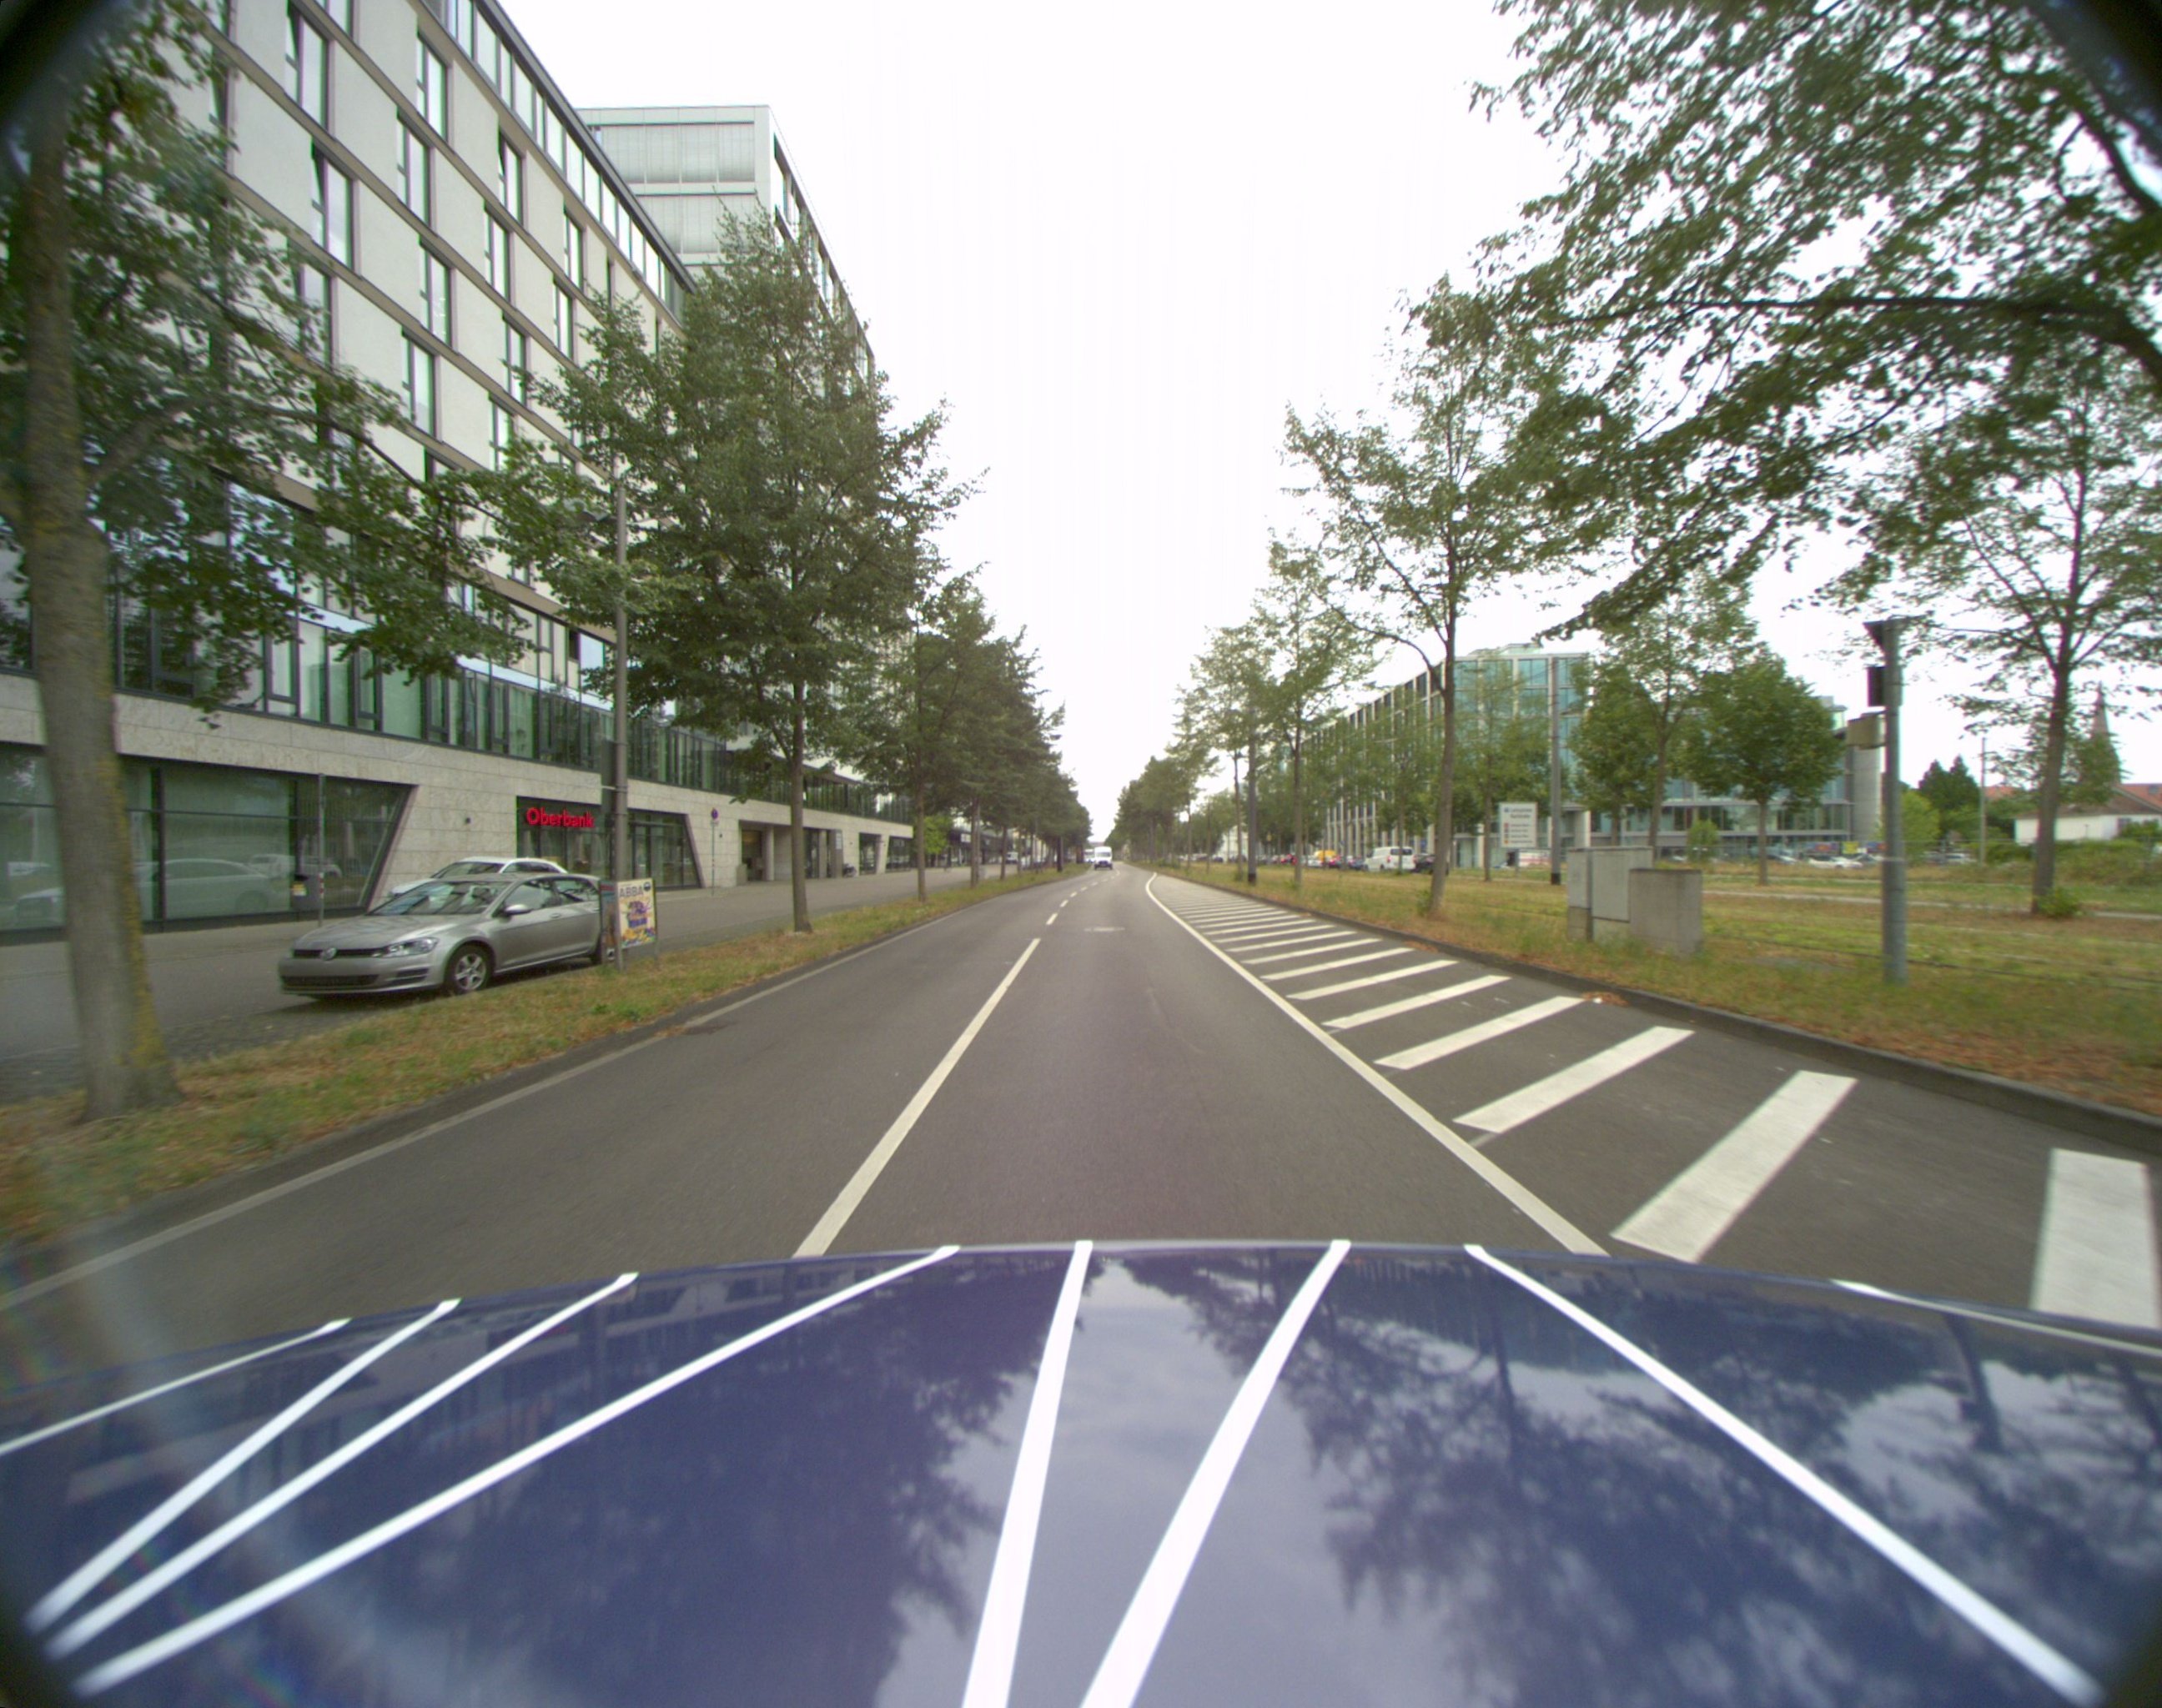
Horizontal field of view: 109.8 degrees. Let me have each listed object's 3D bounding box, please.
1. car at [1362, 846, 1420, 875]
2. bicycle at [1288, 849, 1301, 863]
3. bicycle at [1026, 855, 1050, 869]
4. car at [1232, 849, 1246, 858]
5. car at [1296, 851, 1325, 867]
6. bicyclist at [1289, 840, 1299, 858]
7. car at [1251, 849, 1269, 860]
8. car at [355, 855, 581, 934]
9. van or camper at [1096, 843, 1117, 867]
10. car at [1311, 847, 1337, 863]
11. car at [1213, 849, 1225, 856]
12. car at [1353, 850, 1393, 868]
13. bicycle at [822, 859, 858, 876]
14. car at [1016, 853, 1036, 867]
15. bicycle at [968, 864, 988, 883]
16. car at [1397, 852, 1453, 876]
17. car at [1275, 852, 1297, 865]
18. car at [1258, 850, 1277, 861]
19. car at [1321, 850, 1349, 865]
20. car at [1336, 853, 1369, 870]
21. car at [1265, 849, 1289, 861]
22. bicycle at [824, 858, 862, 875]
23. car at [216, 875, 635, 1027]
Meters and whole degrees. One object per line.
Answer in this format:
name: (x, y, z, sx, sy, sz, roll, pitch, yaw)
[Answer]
car: (21.550, 0.400, 53.051, 1.998, 1.933, 5.096, -1, 0, 1)
bicycle: (23.878, 0.262, 85.164, 0.711, 1.479, 2.358, -3, 0, 0)
bicycle: (-3.282, 0.609, 58.312, 1.790, 1.013, 0.422, -1, 1, -13)
car: (26.118, -0.094, 125.532, 1.752, 1.448, 3.865, -1, 0, 3)
car: (22.815, 0.479, 75.566, 1.753, 1.488, 3.865, 0, 0, 1)
bicyclist: (23.837, -0.576, 85.137, 0.742, 2.002, 0.995, -3, 1, -1)
car: (25.667, 0.040, 109.053, 1.752, 1.448, 3.865, -1, 0, 3)
car: (-14.310, 0.862, 18.116, 1.862, 1.579, 4.240, 2, 0, 2)
van or camper: (2.816, 0.092, 85.585, 2.183, 2.494, 6.339, -2, 0, 1)
car: (27.271, 0.090, 85.353, 1.956, 1.761, 4.446, 0, 0, 5)
car: (26.648, -0.310, 146.441, 1.752, 1.448, 3.865, -1, 0, 3)
car: (24.614, 0.393, 64.210, 1.753, 1.520, 4.279, -1, 0, -1)
bicycle: (-17.088, 0.962, 53.940, 2.238, 1.170, 0.975, -1, 1, -6)
car: (-6.247, 0.657, 86.895, 1.954, 1.521, 4.000, -1, 0, 1)
bicycle: (-5.425, 1.012, 40.127, 0.634, 0.871, 2.116, -3, 1, 3)
car: (24.338, 0.675, 53.931, 1.832, 1.647, 4.691, -1, 0, -1)
car: (24.180, 0.484, 89.601, 1.752, 1.448, 3.866, -1, 0, 4)
car: (25.241, 0.134, 103.028, 1.752, 1.448, 3.865, -1, 0, 3)
car: (26.040, 0.319, 78.039, 1.752, 1.448, 3.866, 0, 0, 3)
car: (25.180, 0.707, 70.469, 1.753, 1.488, 3.865, -1, 0, 1)
car: (24.480, 0.109, 94.894, 1.998, 1.410, 4.000, -1, 0, 1)
bicycle: (-17.264, 0.899, 55.169, 2.426, 1.170, 1.202, -1, 1, -6)
car: (-8.014, 1.067, 9.960, 1.764, 1.413, 4.183, -1, 0, 2)
